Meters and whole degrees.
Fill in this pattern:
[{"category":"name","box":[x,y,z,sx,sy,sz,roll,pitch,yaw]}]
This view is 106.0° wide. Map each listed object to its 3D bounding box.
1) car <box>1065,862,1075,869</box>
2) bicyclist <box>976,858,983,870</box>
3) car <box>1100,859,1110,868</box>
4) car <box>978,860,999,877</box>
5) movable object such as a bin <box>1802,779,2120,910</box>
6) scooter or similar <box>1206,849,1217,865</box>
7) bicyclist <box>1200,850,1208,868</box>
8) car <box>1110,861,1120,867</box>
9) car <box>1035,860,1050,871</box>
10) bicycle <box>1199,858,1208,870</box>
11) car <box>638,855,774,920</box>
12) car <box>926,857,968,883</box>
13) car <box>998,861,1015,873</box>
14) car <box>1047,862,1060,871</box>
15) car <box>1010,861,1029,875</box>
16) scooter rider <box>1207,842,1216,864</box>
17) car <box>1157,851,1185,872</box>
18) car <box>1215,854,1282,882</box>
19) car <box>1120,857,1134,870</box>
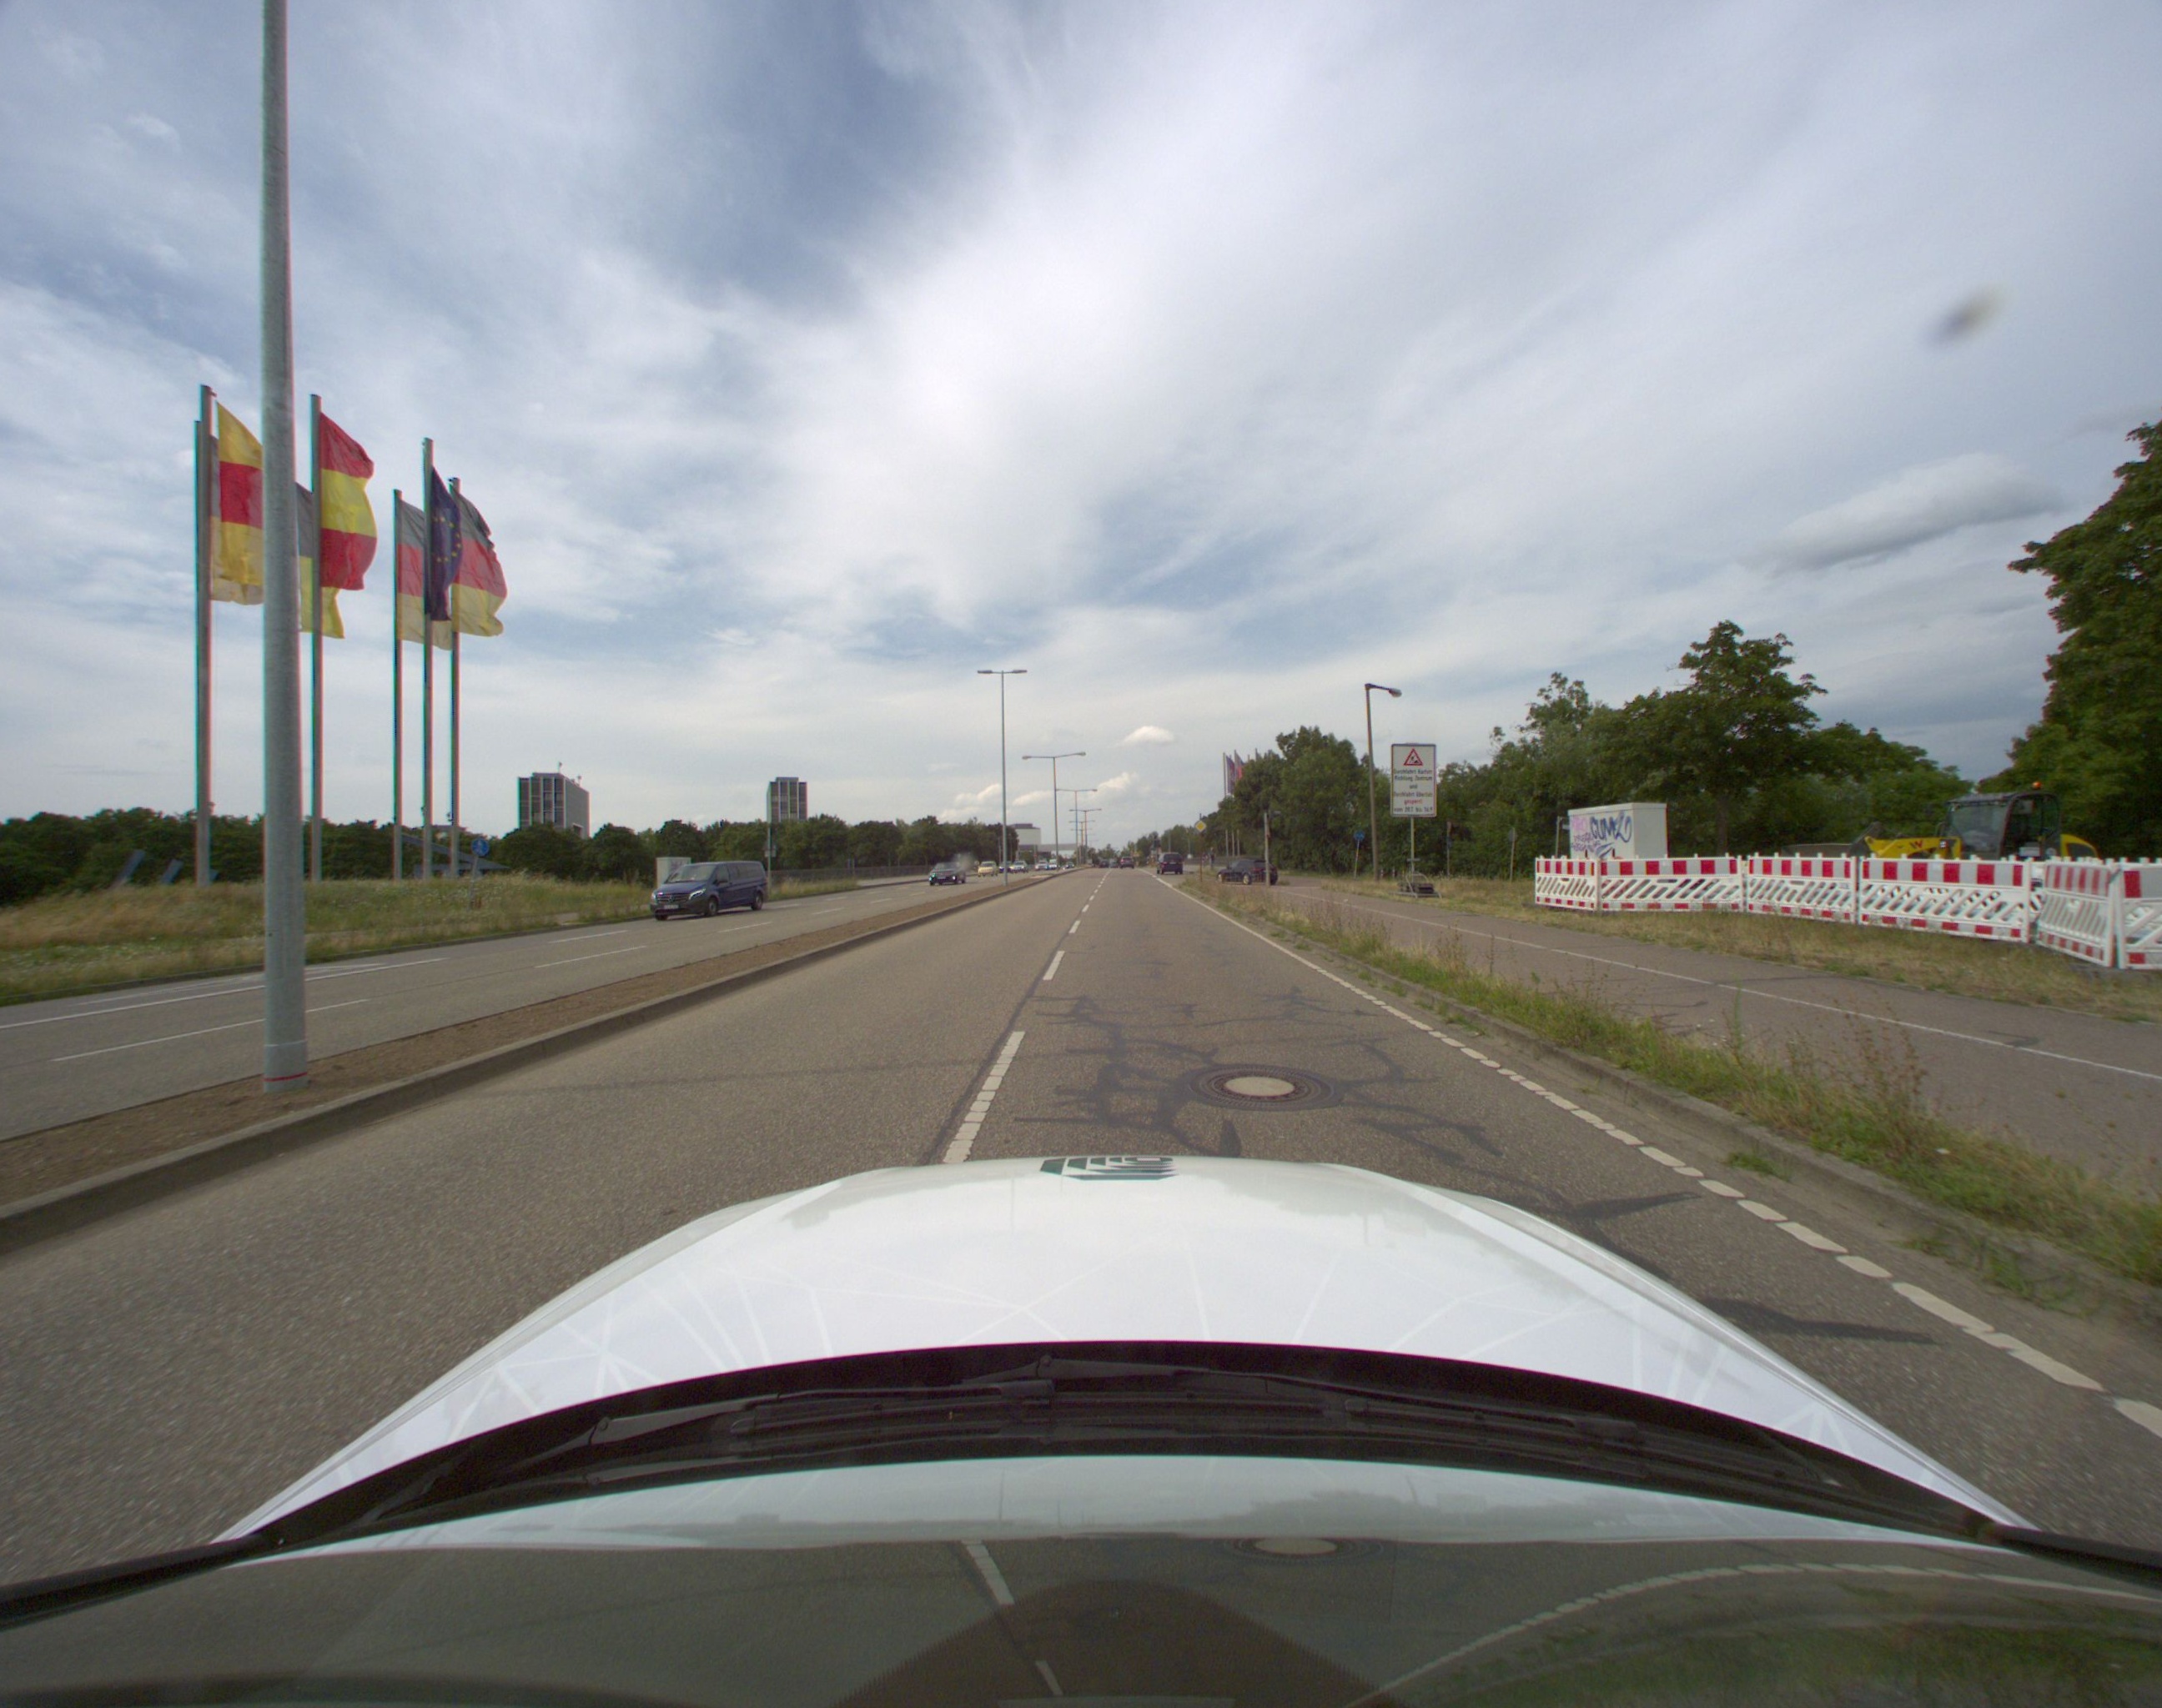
[{"category":"car","box":[-2.303,2.431,174.466,1.731,1.481,4.778,-3,-1,2]},{"category":"bicyclist","box":[-13.807,1.334,110.663,0.792,1.626,0.976,0,-1,-1]},{"category":"car","box":[4.493,1.769,153.670,1.723,1.653,4.117,-1,-1,3]},{"category":"car","box":[-9.604,1.497,84.518,1.543,1.578,3.692,-3,0,2]},{"category":"movable object such as a bin","box":[19.194,-0.180,17.992,4.478,2.689,2.105,0,-1,6]},{"category":"scooter or similar","box":[10.266,0.256,64.137,0.587,1.224,1.200,0,-1,-6]},{"category":"bicyclist","box":[11.556,0.446,76.792,0.662,1.659,0.806,0,1,1]},{"category":"car","box":[7.937,2.317,190.045,1.727,1.526,4.109,0,-1,-3]},{"category":"car","box":[-6.278,1.838,132.036,1.855,1.725,4.774,-3,-1,3]},{"category":"bicycle","box":[11.565,0.899,76.779,0.574,1.022,1.976,-4,1,2]},{"category":"car","box":[-12.919,1.075,28.540,1.839,1.893,5.510,-4,0,3]},{"category":"car","box":[-8.576,1.006,52.447,1.756,1.440,4.179,-3,0,2]},{"category":"car","box":[-10.108,1.714,110.182,1.733,1.515,4.317,-3,-1,1]},{"category":"car","box":[-4.995,2.268,149.861,1.730,1.480,4.477,-3,-1,5]},{"category":"car","box":[-7.471,1.640,99.083,1.641,1.515,4.022,-3,0,5]},{"category":"scooter rider","box":[10.266,-0.072,64.098,0.587,1.690,0.742,0,-1,-7]},{"category":"car","box":[7.233,0.639,65.672,1.725,1.653,4.113,-1,-1,-1]},{"category":"car","box":[9.091,0.748,44.553,1.736,1.395,4.088,-2,1,-19]},{"category":"car","box":[6.090,1.251,108.143,1.724,1.653,4.115,-1,-1,1]}]
